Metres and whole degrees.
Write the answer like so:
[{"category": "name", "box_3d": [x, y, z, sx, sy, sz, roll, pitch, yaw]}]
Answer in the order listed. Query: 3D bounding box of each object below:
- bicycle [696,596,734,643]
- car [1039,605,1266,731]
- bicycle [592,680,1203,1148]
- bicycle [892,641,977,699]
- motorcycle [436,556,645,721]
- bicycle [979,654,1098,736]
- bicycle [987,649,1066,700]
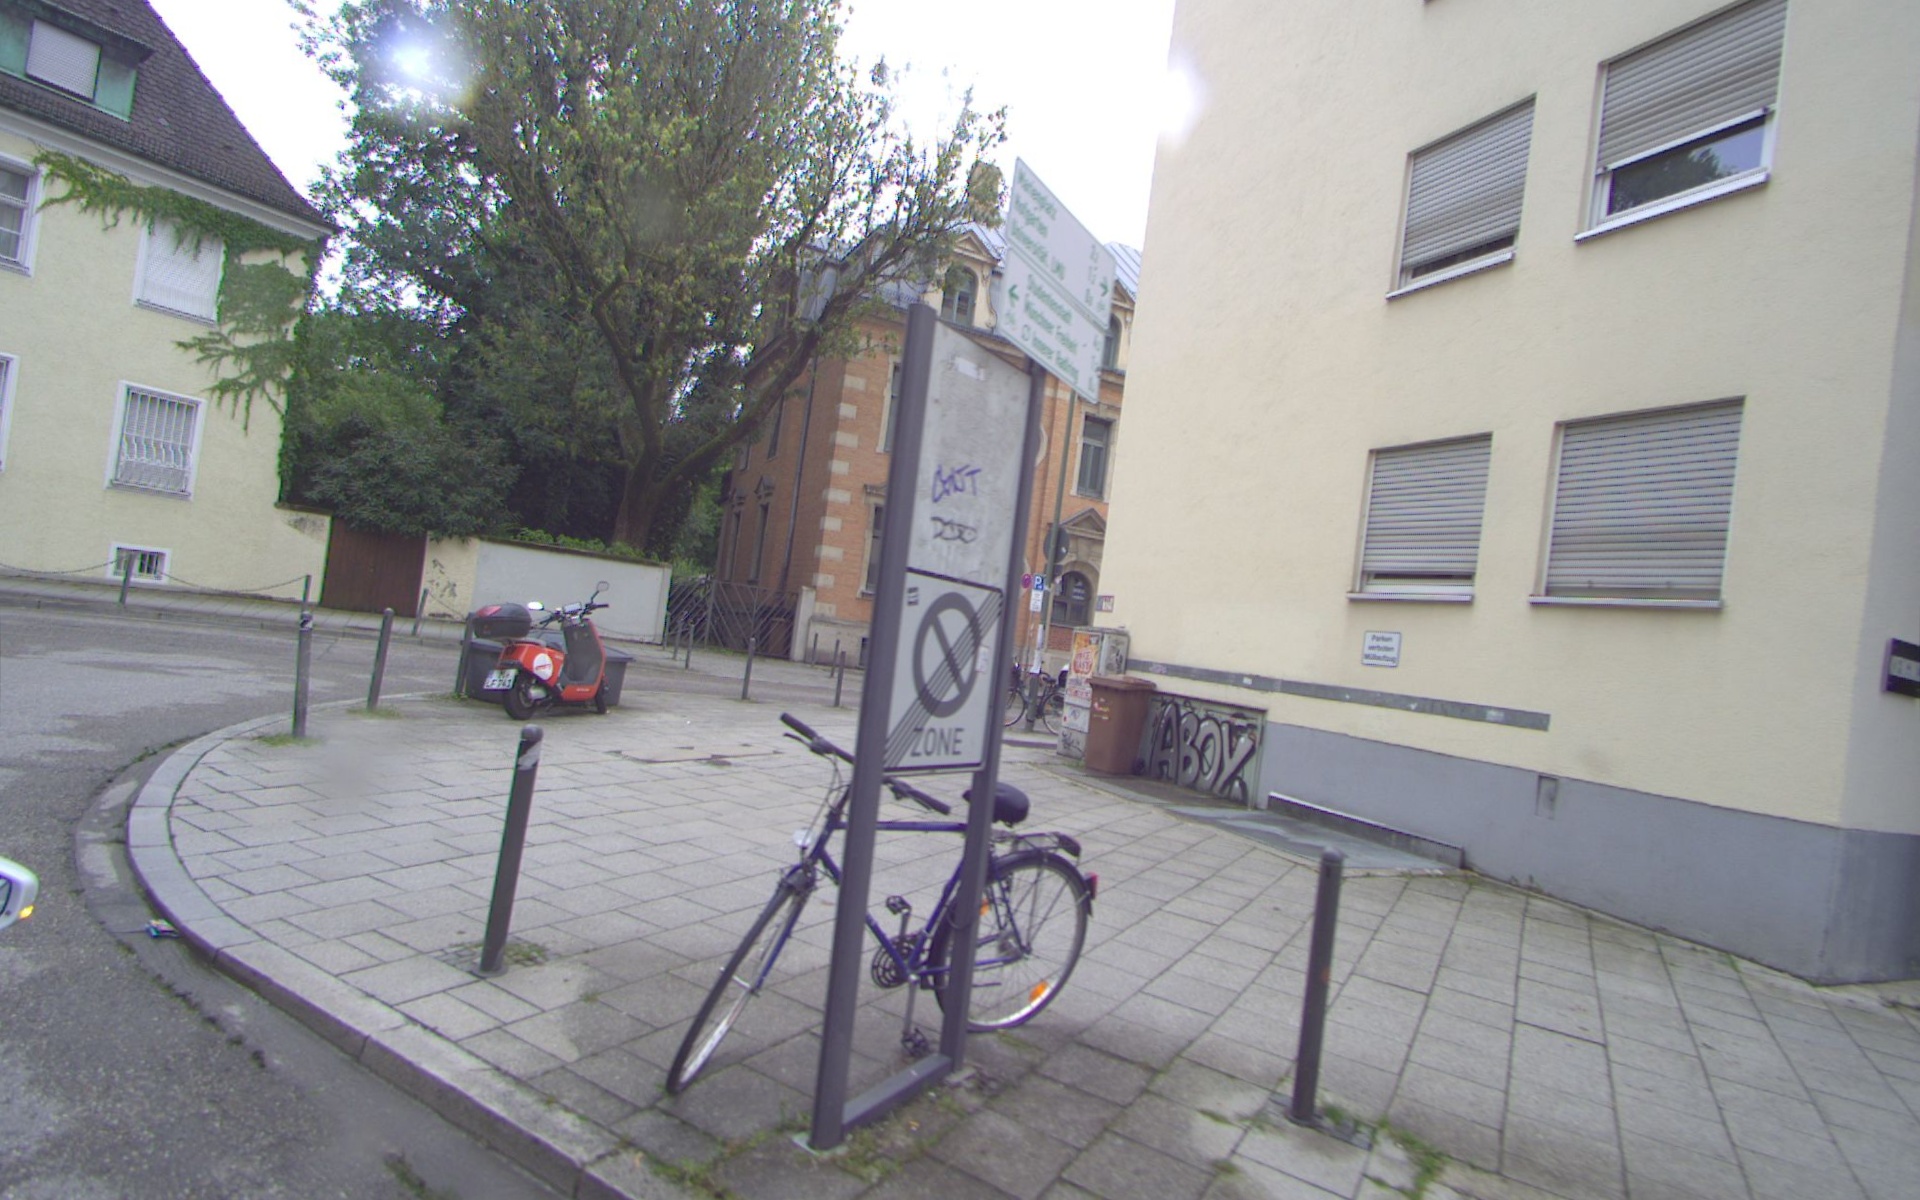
[{"category": "bicycle", "box_3d": [-7.220, 0.548, 29.610, 0.529, 1.232, 2.071, 8, -2, -25]}, {"category": "car", "box_3d": [4.983, 1.759, 25.898, 5.406, 2.494, 1.988, 9, -4, -25]}, {"category": "bicycle", "box_3d": [-0.146, 0.921, 3.281, 1.780, 1.099, 0.660, 8, 1, -33]}, {"category": "bicycle", "box_3d": [-0.587, 1.610, 23.126, 1.739, 1.066, 0.579, 9, -2, -22]}, {"category": "motorcycle", "box_3d": [-4.060, 0.402, 9.979, 0.802, 1.371, 2.088, 8, -2, 8]}, {"category": "bicycle", "box_3d": [1.279, 1.550, 16.607, 1.739, 1.078, 0.772, 6, -2, 43]}, {"category": "bicycle", "box_3d": [1.724, 1.938, 26.186, 1.870, 1.066, 0.578, 9, -1, -22]}]
